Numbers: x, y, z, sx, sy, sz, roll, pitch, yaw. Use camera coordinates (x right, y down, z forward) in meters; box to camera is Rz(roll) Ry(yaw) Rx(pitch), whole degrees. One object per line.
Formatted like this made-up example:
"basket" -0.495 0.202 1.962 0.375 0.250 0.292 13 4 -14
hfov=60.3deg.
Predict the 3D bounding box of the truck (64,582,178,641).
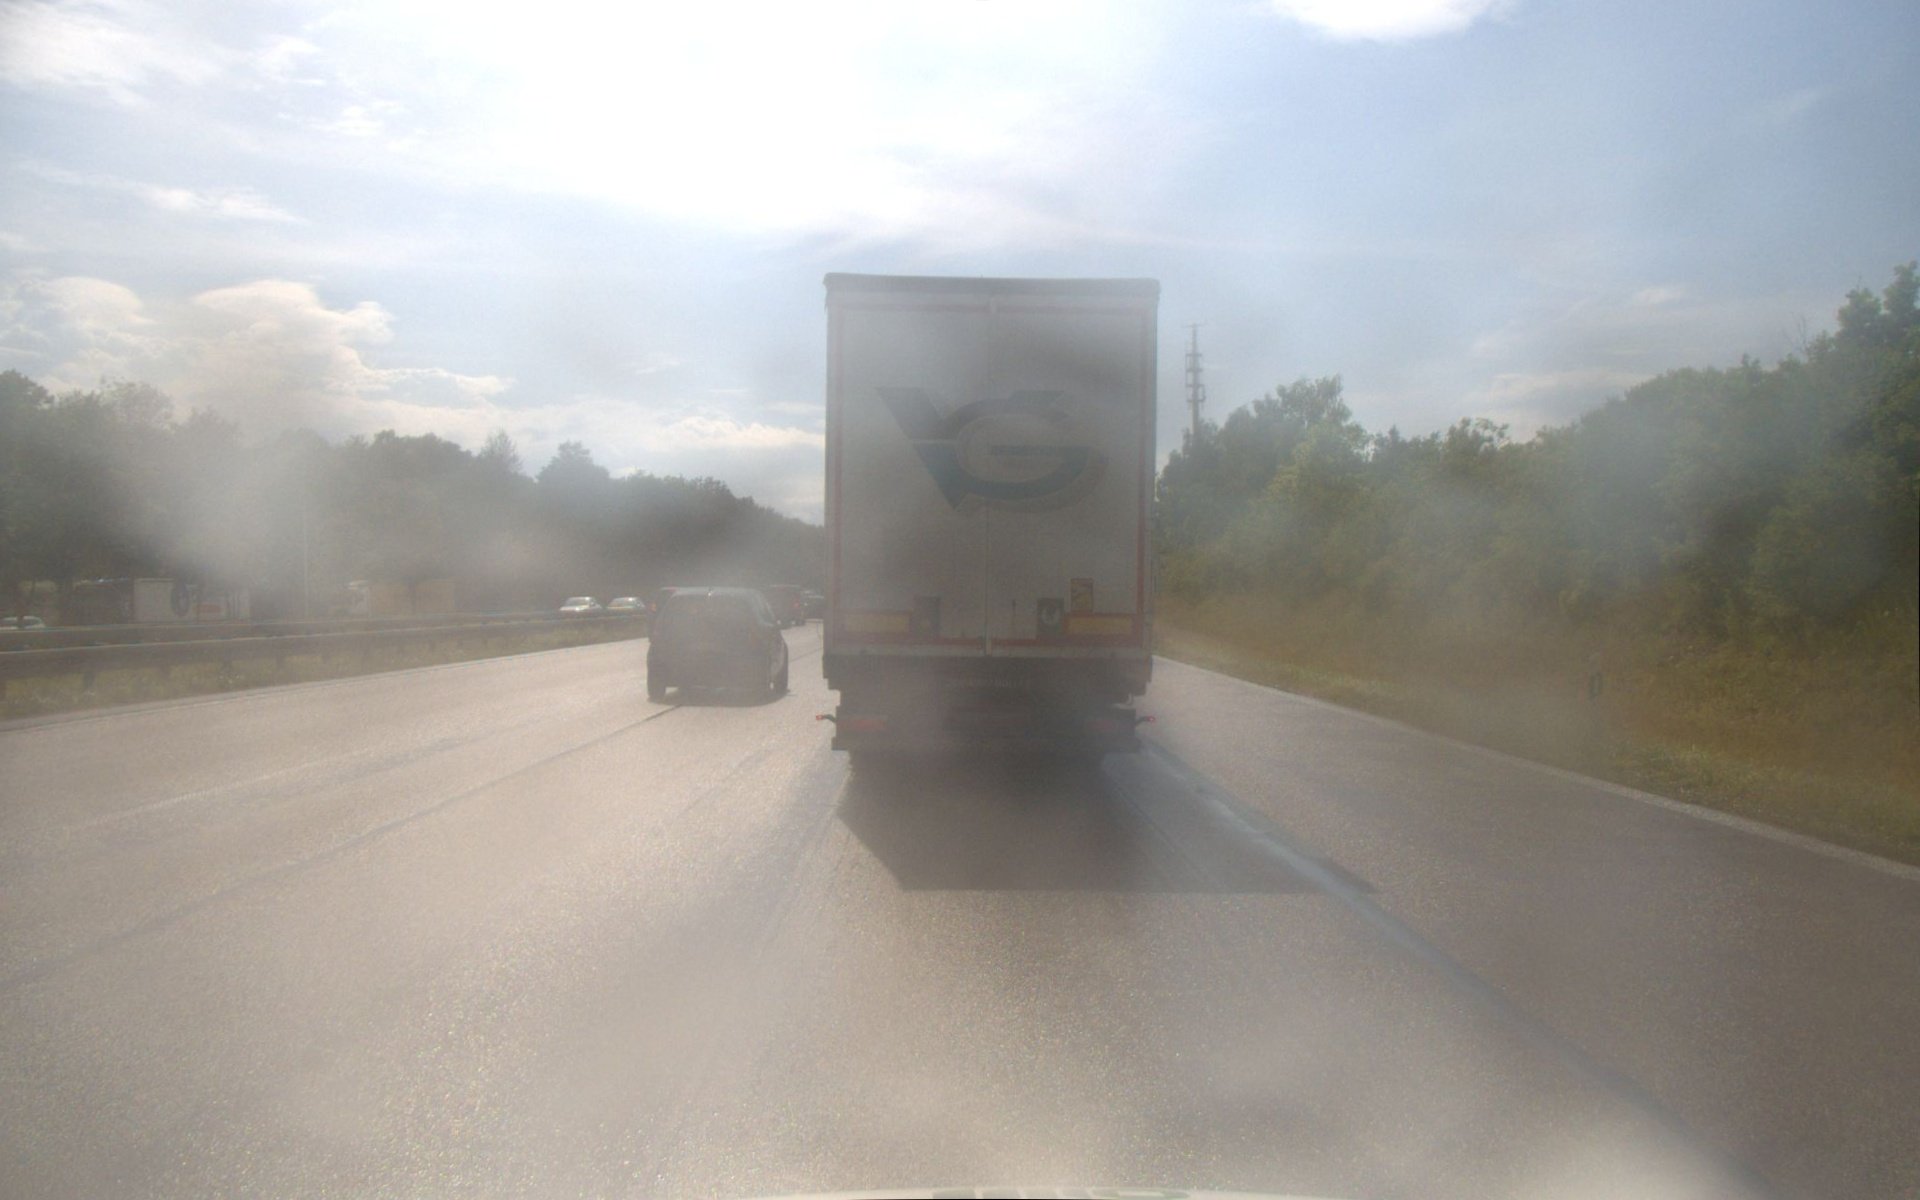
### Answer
"truck" -55.835 0.761 110.303 3.708 3.724 6.709 1 0 5

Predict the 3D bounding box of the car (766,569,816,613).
"car" -8.371 -0.406 82.509 1.938 2.090 4.756 1 0 0

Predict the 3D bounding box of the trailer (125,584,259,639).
"trailer" -54.953 0.788 118.775 3.708 3.713 10.505 0 0 7

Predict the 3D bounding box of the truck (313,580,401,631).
"truck" -51.125 0.470 140.509 3.707 4.189 7.051 1 -1 13

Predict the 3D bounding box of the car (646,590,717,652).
"car" -8.706 0.640 51.908 1.658 1.836 3.974 1 0 -2

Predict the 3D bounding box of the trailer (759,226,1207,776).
"trailer" 0.040 -0.736 19.246 3.217 3.967 14.125 1 0 -1

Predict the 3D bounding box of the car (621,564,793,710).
"car" -3.765 0.530 25.464 2.230 1.989 4.816 1 0 -5

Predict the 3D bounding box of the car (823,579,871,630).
"car" -4.306 0.184 63.230 1.658 1.836 3.974 1 0 -2

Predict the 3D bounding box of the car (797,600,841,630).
"car" -7.873 0.819 92.750 1.952 1.592 4.756 1 0 0

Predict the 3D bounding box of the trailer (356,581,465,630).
"trailer" -49.227 0.567 148.732 3.707 4.189 11.735 1 0 13

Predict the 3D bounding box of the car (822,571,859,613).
"car" -7.858 -0.505 109.344 1.952 2.661 5.259 1 0 0
